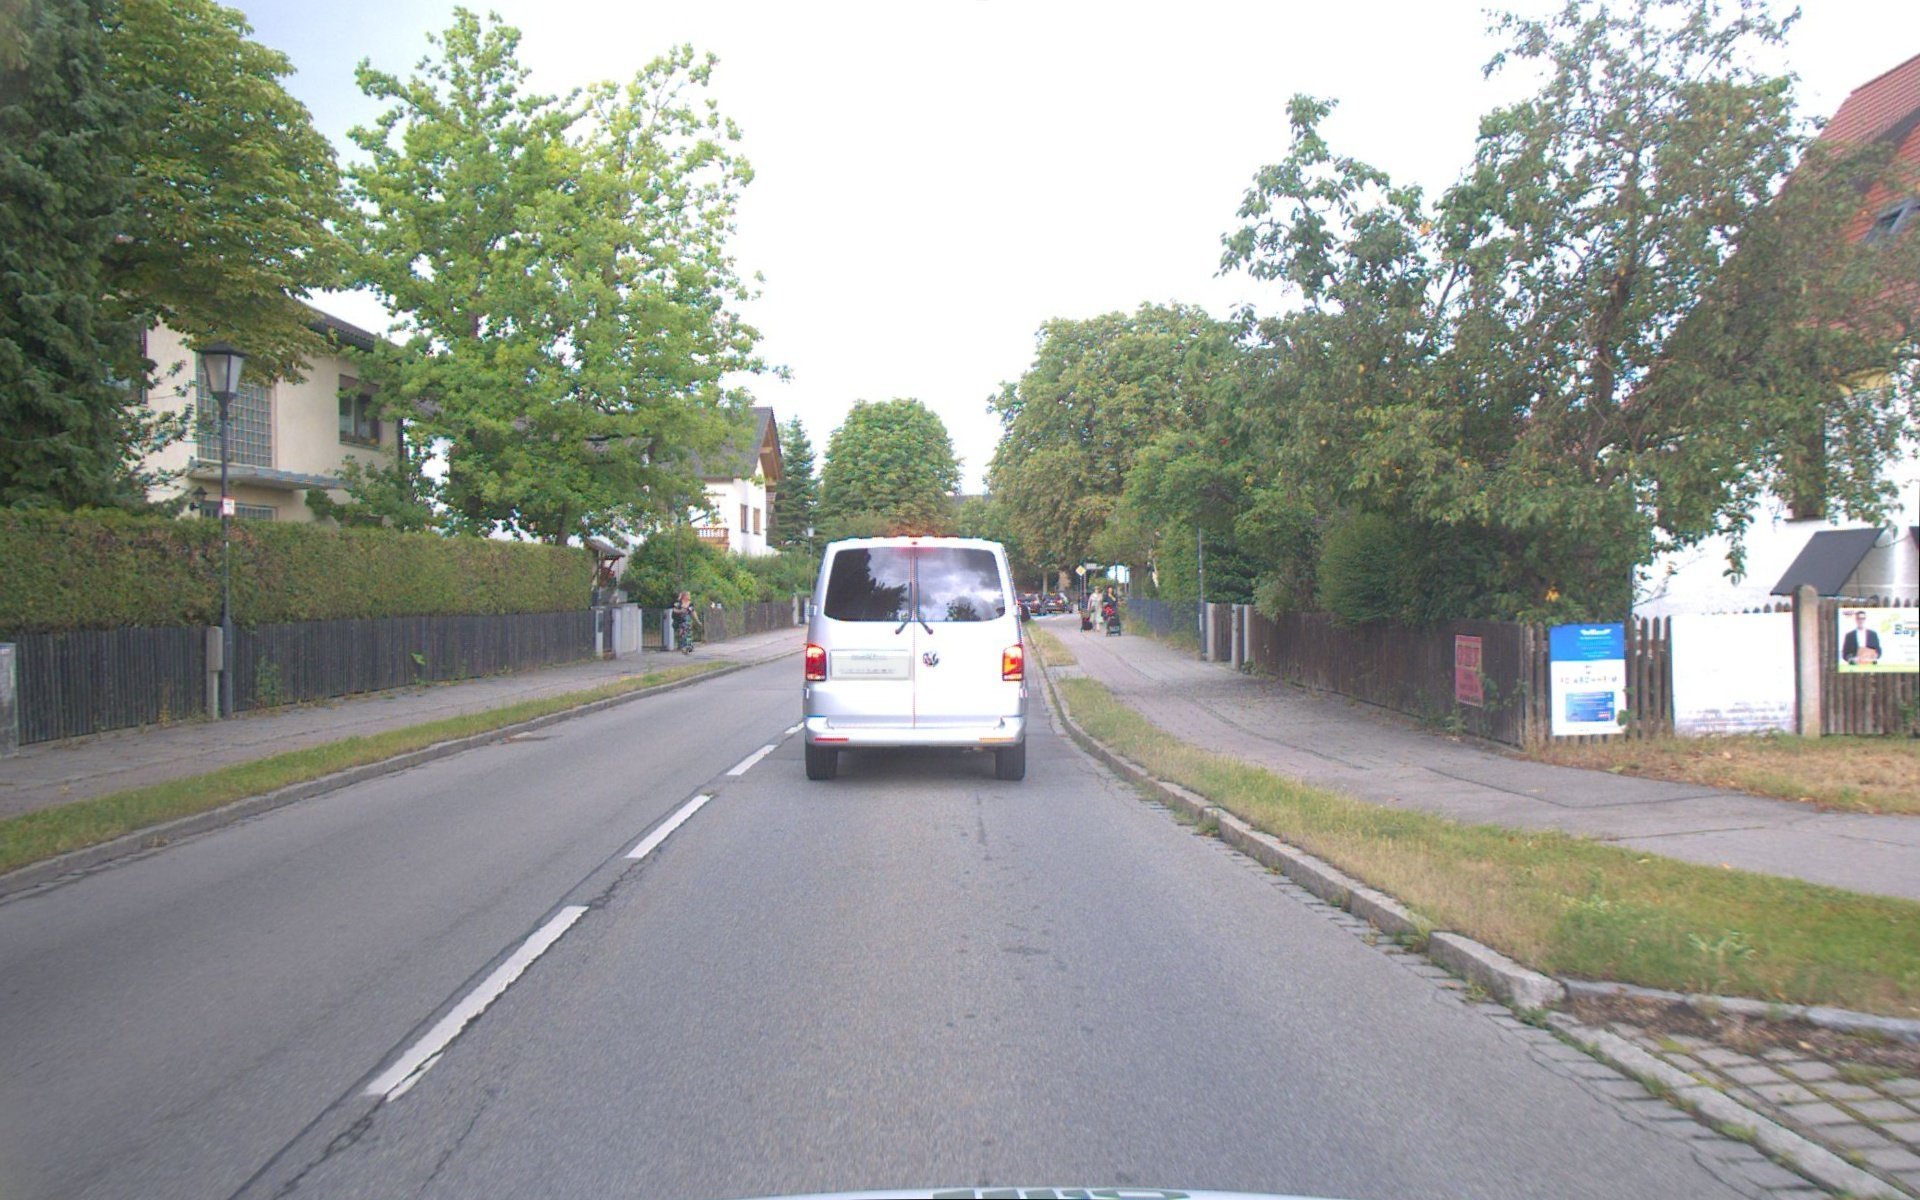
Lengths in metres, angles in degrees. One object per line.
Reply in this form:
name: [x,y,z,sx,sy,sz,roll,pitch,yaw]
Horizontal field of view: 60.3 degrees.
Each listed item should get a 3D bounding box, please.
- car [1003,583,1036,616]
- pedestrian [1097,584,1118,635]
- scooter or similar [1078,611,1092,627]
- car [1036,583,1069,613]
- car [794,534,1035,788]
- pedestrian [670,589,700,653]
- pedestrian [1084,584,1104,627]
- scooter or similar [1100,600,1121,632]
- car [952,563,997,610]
car: [3.874,-0.060,107.533,1.951,2.049,4.002,-1,0,4]
pedestrian: [4.600,0.287,51.520,0.540,1.576,0.612,1,0,-3]
scooter or similar: [4.509,0.694,59.777,0.465,0.554,0.458,1,0,-3]
car: [6.602,-0.170,117.612,1.951,2.049,4.003,-1,0,8]
car: [-0.322,0.471,14.780,1.849,1.945,4.000,0,0,1]
pedestrian: [-6.797,0.520,40.868,0.613,1.576,0.519,1,0,-21]
pedestrian: [4.798,0.197,59.207,0.610,1.550,0.579,1,0,-3]
scooter or similar: [4.621,0.486,50.834,0.540,0.988,0.620,1,0,-3]
car: [0.693,-0.611,76.435,1.952,2.049,4.001,1,0,2]
